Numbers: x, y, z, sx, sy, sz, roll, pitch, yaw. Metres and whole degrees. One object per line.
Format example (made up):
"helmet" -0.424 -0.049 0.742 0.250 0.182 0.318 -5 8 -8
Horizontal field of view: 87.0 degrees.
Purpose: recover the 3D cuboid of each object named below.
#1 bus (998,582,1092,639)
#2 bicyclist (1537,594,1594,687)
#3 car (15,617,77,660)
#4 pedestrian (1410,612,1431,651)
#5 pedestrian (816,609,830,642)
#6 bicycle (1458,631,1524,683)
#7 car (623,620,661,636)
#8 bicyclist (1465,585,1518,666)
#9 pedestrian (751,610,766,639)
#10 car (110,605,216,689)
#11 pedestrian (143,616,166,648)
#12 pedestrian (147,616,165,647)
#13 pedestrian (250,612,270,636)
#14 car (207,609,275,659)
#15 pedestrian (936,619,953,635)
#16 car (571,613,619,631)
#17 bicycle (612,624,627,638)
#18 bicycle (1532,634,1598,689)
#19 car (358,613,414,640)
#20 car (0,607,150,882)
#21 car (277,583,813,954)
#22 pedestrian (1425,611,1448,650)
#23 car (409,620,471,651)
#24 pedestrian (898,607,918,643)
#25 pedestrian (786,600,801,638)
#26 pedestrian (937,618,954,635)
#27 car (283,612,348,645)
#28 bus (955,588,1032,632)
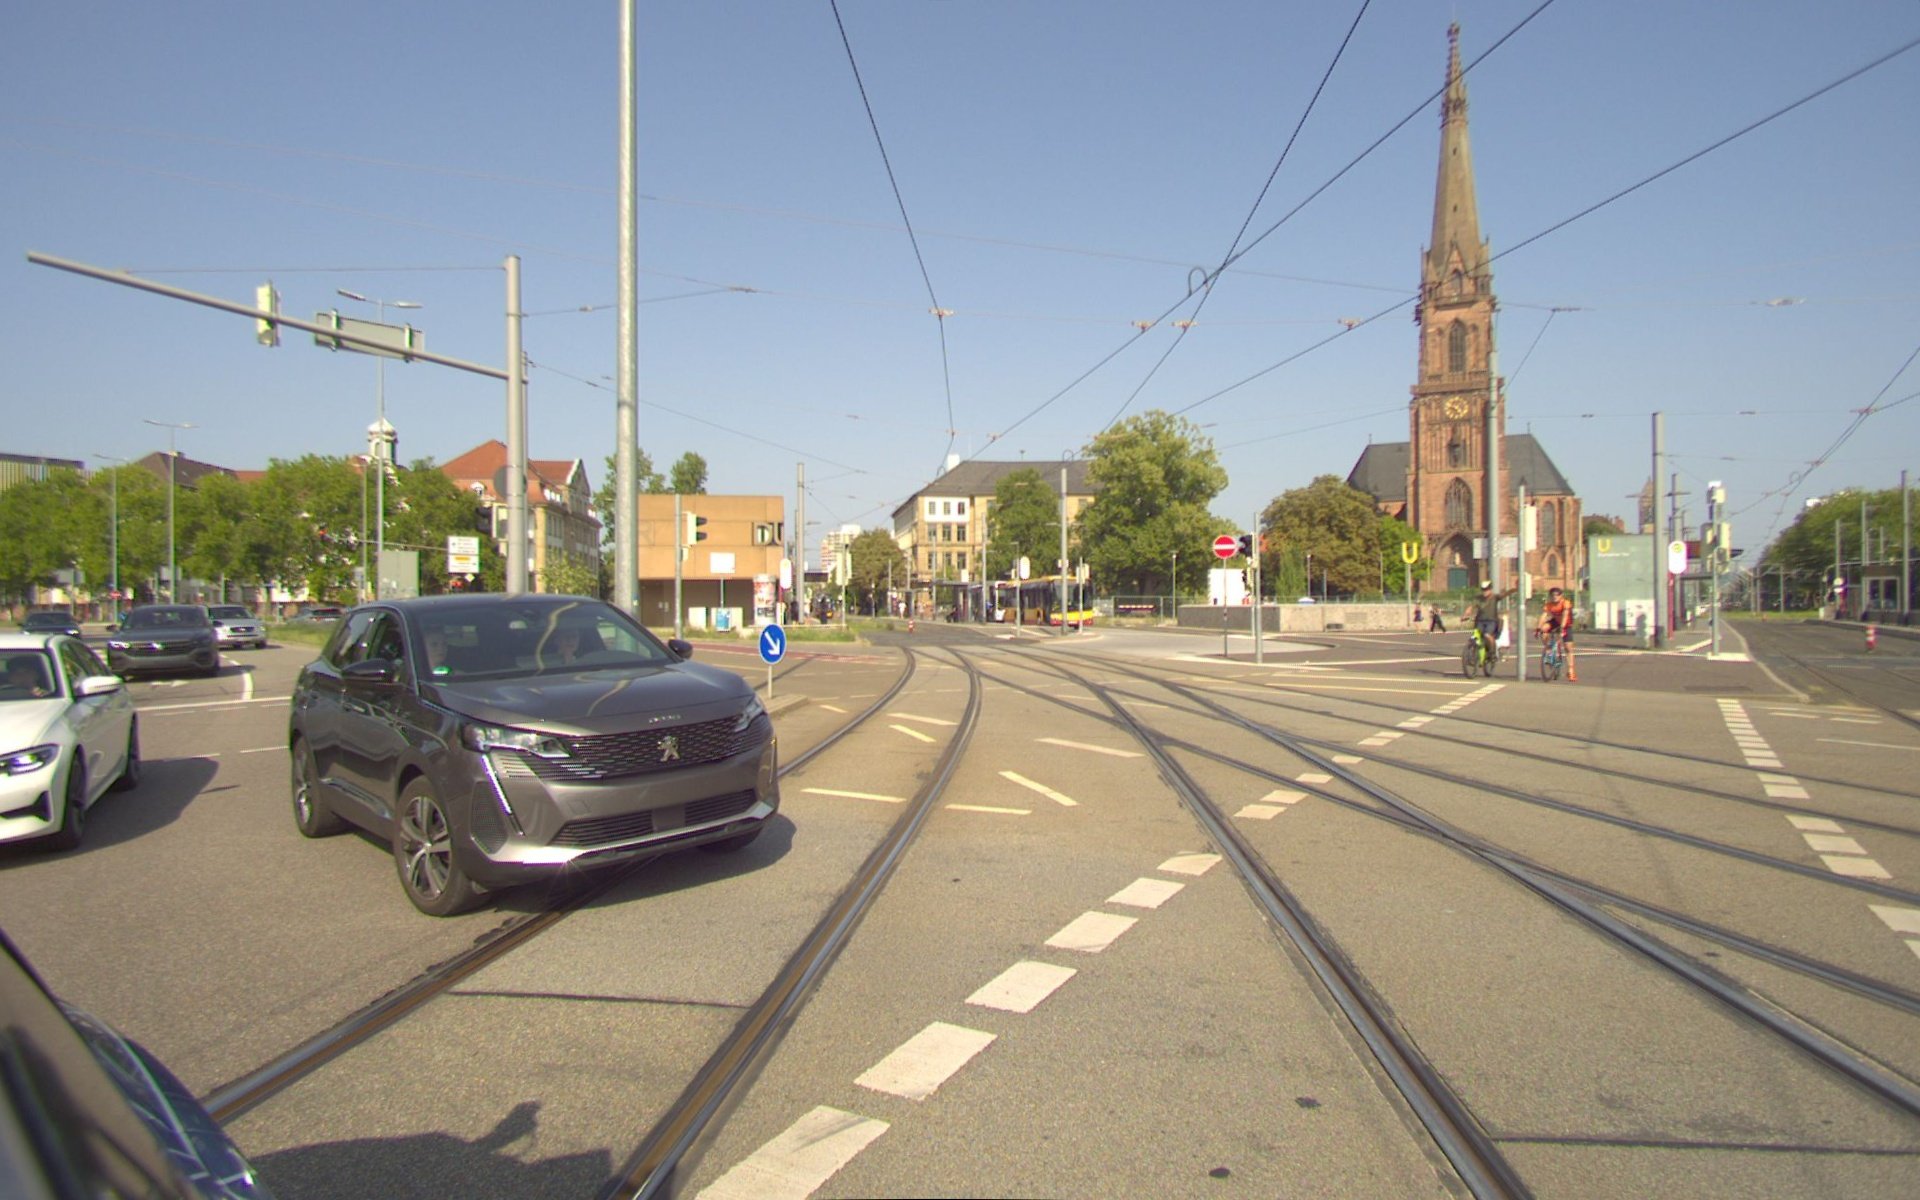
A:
"bus" 4.919 0.669 61.691 2.673 3.132 12.239 0 -1 -10
"bicyclist" 11.214 0.735 18.741 0.726 1.664 0.872 -2 -2 42
"car" -37.354 1.547 41.443 1.661 1.666 4.380 1 -2 -39
"pedestrian" 21.949 1.493 48.262 0.710 1.880 0.654 1 -2 -41
"pedestrian" -7.581 1.394 55.873 0.689 1.814 0.782 0 -1 -12
"bicycle" 10.334 1.090 19.662 0.726 0.939 1.793 -2 -2 41
"car" -32.332 2.813 102.991 1.615 1.509 3.821 -1 -1 22
"bicyclist" 10.329 0.489 19.673 0.726 1.539 0.786 -2 -2 42
"pedestrian" -12.406 1.501 62.272 0.851 1.718 0.734 0 -1 -13
"car" -18.695 1.076 23.799 1.755 1.705 4.542 -3 0 -38
"pedestrian" -42.925 1.703 53.937 0.657 1.667 0.781 0 -2 -12
"pedestrian" -44.446 1.727 55.918 0.691 1.712 0.659 -2 -2 41
"pedestrian" -61.225 2.087 88.497 1.314 2.029 1.067 -1 -1 33
"car" -27.483 1.298 38.635 1.756 1.733 4.541 -3 0 -39
"pedestrian" -1.087 1.877 70.465 1.013 1.142 0.740 0 -1 -18
"car" -34.969 2.077 97.055 1.987 1.645 4.338 -1 -1 23
"bicycle" -20.746 1.893 61.632 0.583 0.844 1.550 -3 -1 -9
"bicycle" 11.218 1.112 18.735 0.726 0.939 1.793 -2 -2 41
"car" -31.570 1.455 55.585 1.792 1.444 4.229 1 -1 -42
"car" -7.124 0.887 7.042 1.754 1.494 4.546 -3 0 -32
"car" -2.855 0.741 6.294 1.662 1.503 4.377 1 -2 -43
"pedestrian" 22.492 1.445 47.756 0.696 1.796 0.753 1 -2 -41
"car" -25.604 1.712 49.774 1.865 1.463 3.680 1 -1 -42
"pedestrian" -2.707 1.292 52.410 0.768 1.814 0.701 1 -2 -45
"pedestrian" -8.047 0.899 48.967 0.690 1.814 0.781 0 -1 -5
"pedestrian" -0.983 1.797 69.602 1.013 1.142 0.740 0 -1 -18
"car" -33.816 1.480 53.076 4.459 1.629 1.676 -1 -1 41
"bus" 2.280 0.811 75.505 3.246 3.000 12.822 0 -1 -10
